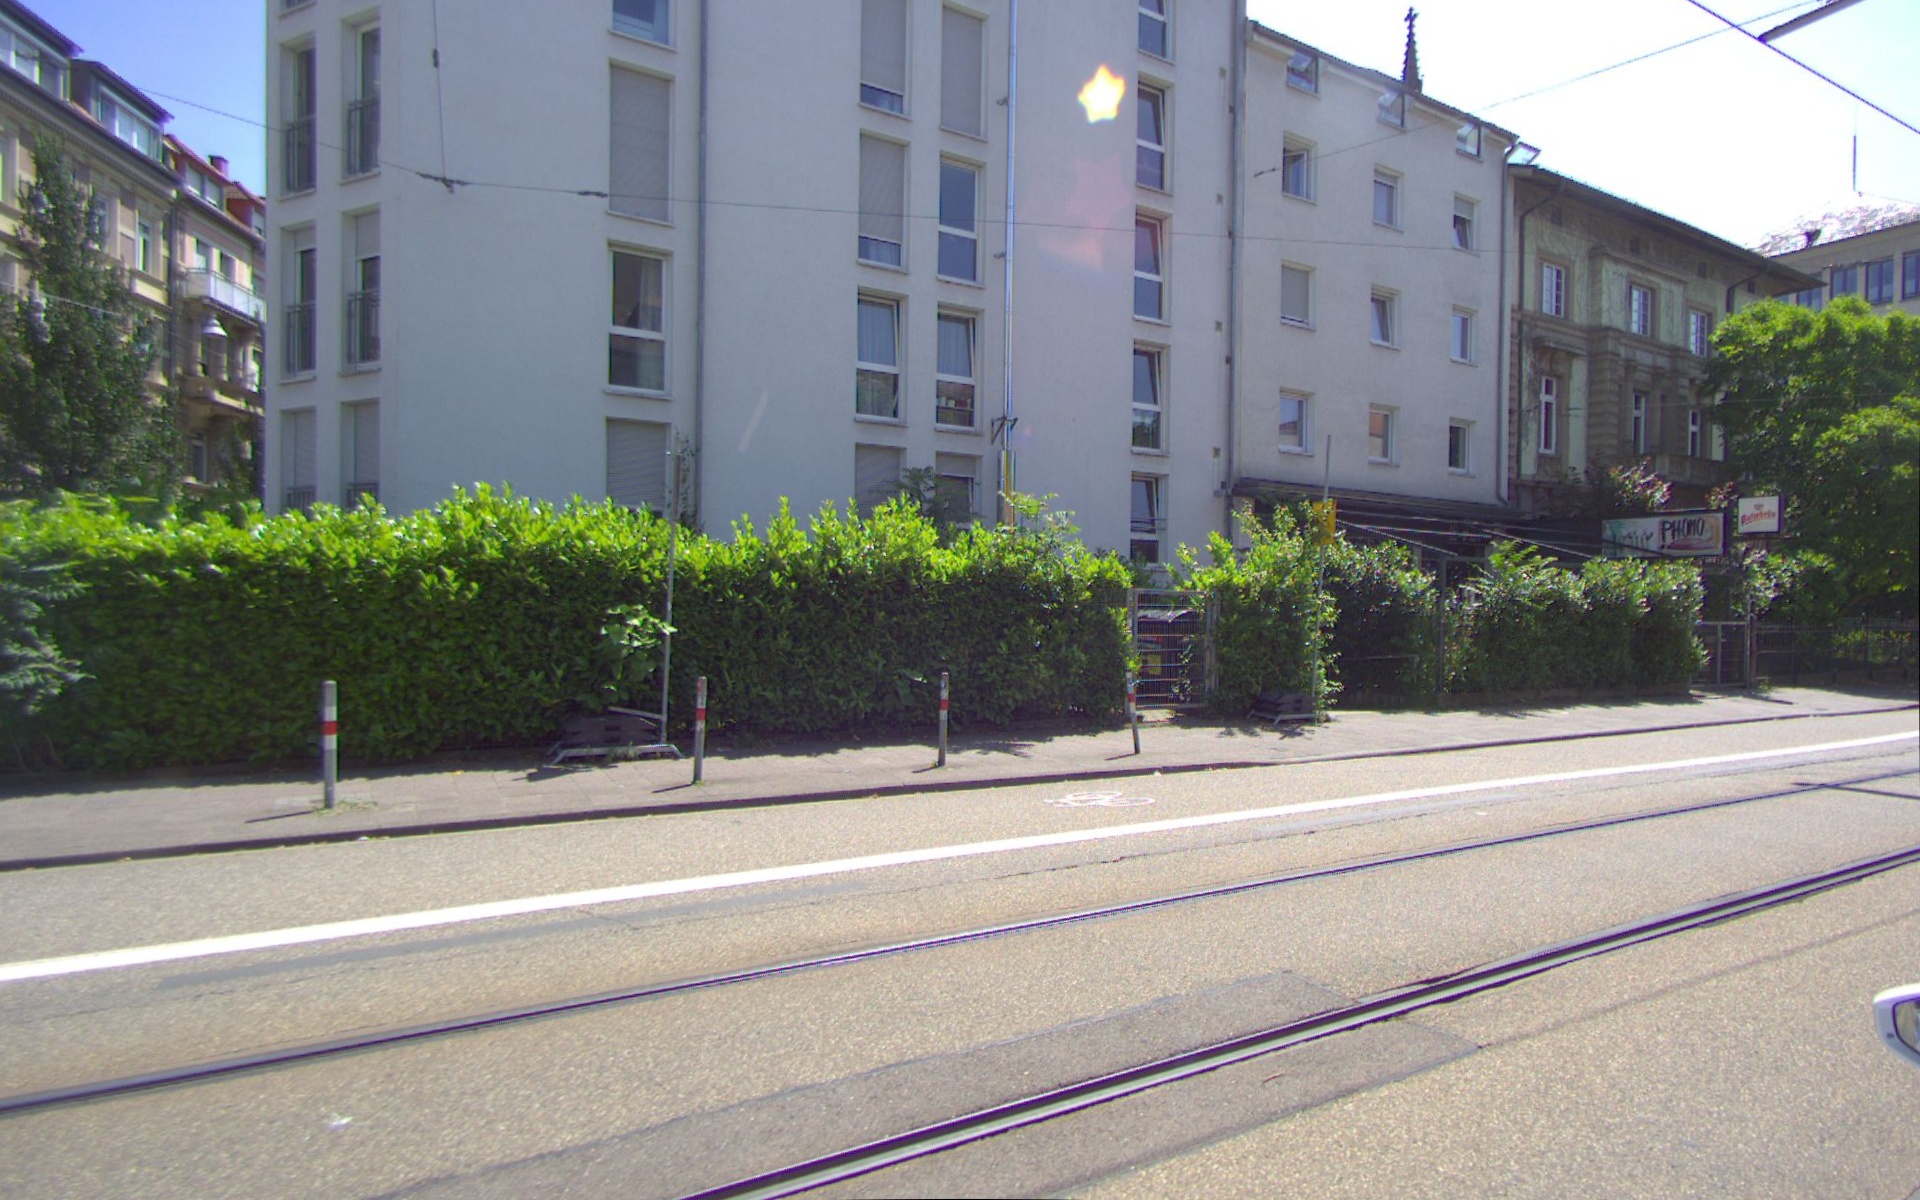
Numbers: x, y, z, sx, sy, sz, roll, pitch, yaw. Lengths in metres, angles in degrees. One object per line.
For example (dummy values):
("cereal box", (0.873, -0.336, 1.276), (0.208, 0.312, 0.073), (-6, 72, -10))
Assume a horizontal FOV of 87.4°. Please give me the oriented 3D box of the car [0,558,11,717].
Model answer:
("car", (-12.869, 0.450, 10.372), (2.117, 2.011, 4.698), (1, 0, -8))
